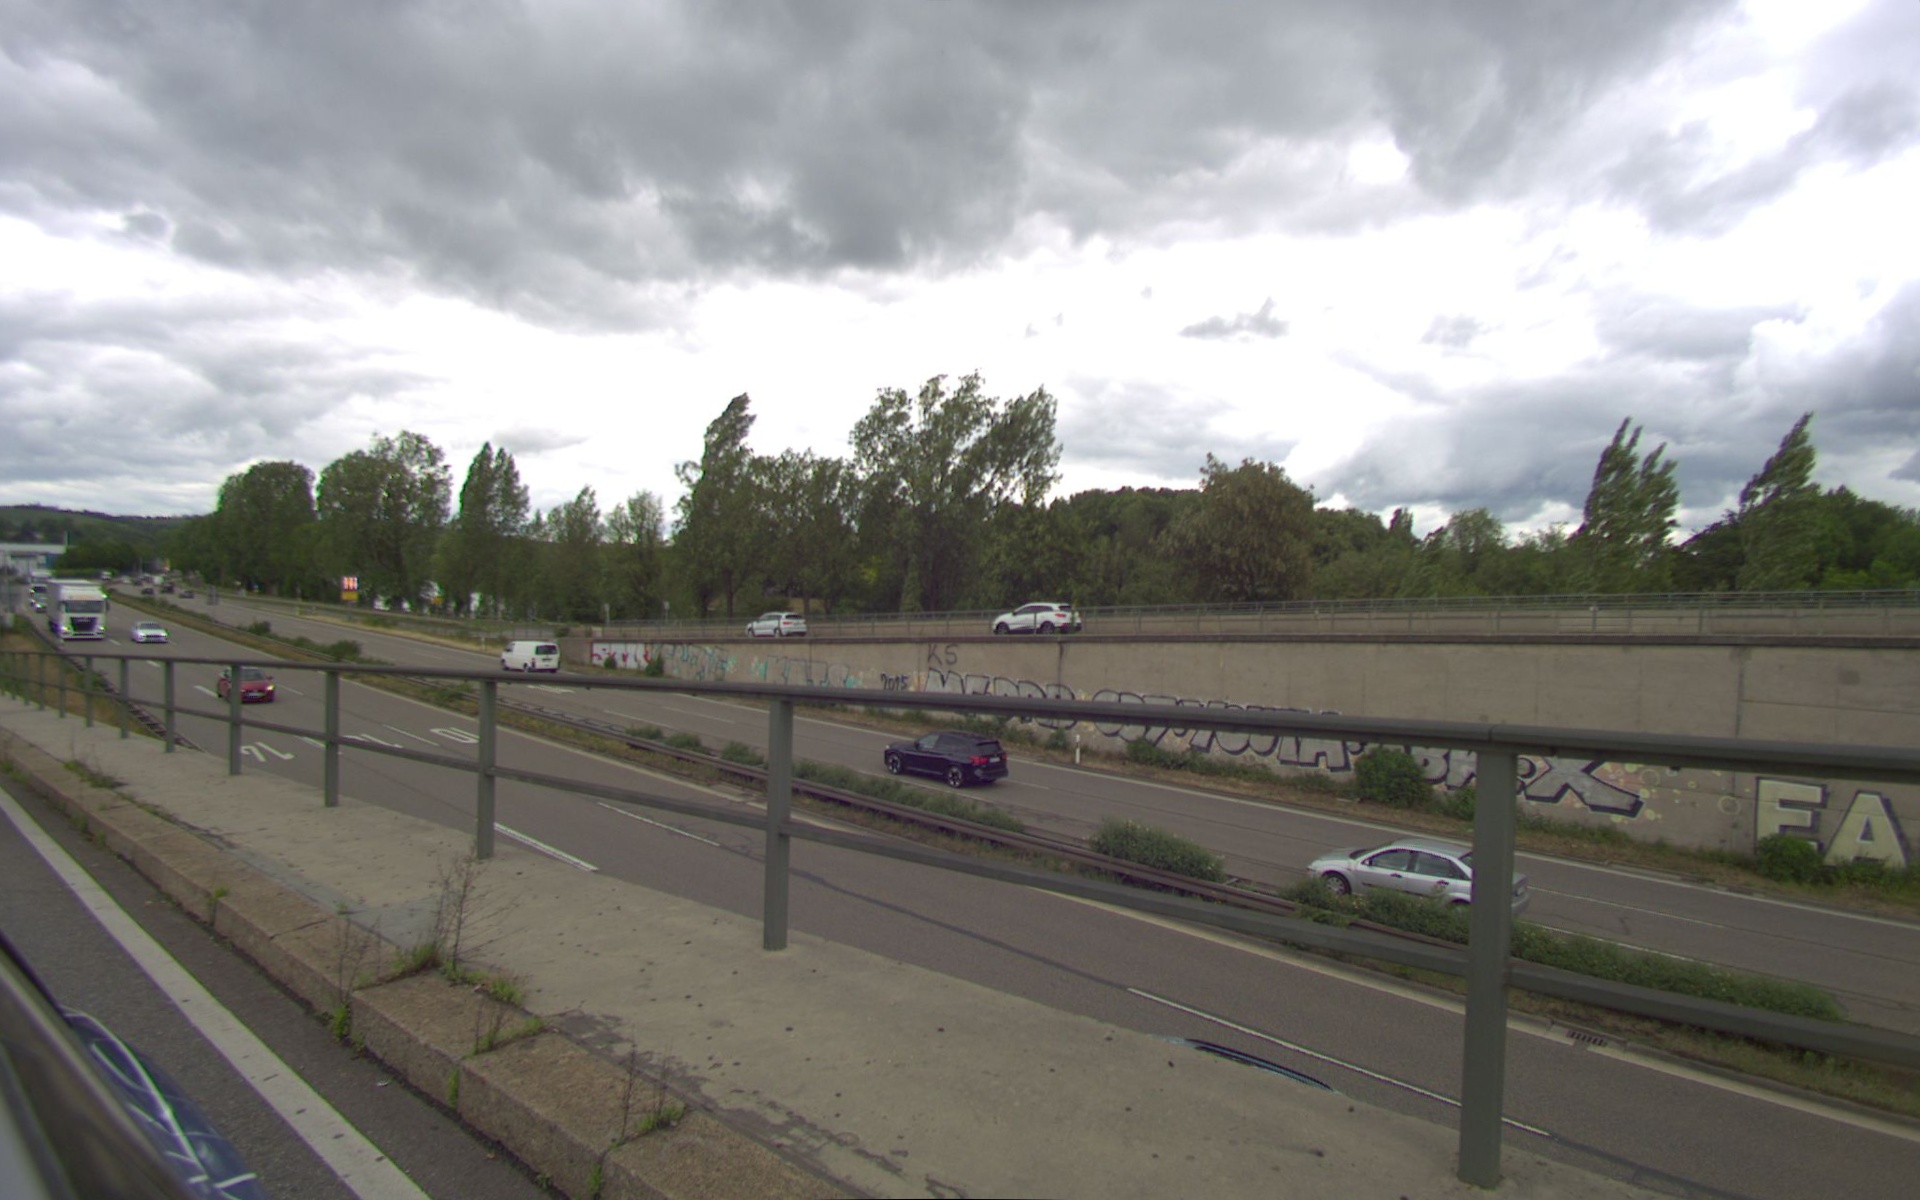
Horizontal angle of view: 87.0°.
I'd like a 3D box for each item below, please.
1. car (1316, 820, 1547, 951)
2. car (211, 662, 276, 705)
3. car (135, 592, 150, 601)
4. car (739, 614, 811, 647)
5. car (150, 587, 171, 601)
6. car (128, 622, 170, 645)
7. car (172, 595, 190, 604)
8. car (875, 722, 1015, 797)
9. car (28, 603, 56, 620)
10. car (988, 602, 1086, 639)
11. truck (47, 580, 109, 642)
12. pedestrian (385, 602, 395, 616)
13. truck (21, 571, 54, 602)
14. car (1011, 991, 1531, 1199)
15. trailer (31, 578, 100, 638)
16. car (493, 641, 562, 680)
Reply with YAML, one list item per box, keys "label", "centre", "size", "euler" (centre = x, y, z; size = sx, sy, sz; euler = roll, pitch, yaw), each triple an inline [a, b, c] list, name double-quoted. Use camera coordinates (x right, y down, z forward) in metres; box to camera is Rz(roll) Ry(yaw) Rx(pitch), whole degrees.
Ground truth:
- label: "car"
  centre: [9.877, 5.898, 21.375]
  size: [4.085, 1.539, 1.710]
  euler: [2, 1, 41]
- label: "car"
  centre: [-32.905, 3.785, 46.437]
  size: [4.167, 1.451, 1.732]
  euler: [4, 3, 44]
- label: "car"
  centre: [-149.771, -0.628, 185.432]
  size: [3.859, 1.512, 1.645]
  euler: [3, 0, 43]
- label: "car"
  centre: [-10.867, 1.784, 59.392]
  size: [4.211, 1.884, 1.973]
  euler: [-2, -2, 41]
- label: "car"
  centre: [-156.413, -1.191, 197.883]
  size: [6.114, 2.566, 2.220]
  euler: [2, 1, 43]
- label: "car"
  centre: [-60.124, 2.446, 75.015]
  size: [4.279, 1.429, 1.894]
  euler: [3, 2, 44]
- label: "car"
  centre: [-132.148, -0.153, 171.728]
  size: [4.111, 1.386, 1.692]
  euler: [2, 0, 43]
- label: "car"
  centre: [-0.550, 5.289, 34.076]
  size: [4.550, 1.751, 1.896]
  euler: [2, 0, 40]
- label: "car"
  centre: [-96.704, 1.241, 106.589]
  size: [4.166, 1.619, 1.834]
  euler: [2, 1, 43]
- label: "car"
  centre: [3.488, 0.949, 46.385]
  size: [4.346, 1.588, 1.812]
  euler: [-2, -2, 43]
- label: "truck"
  centre: [-65.814, 0.767, 75.479]
  size: [6.699, 4.283, 2.721]
  euler: [2, 0, 43]
- label: "pedestrian"
  centre: [-73.244, 1.115, 130.003]
  size: [1.078, 1.718, 0.820]
  euler: [2, 2, 43]
- label: "truck"
  centre: [-141.758, -2.151, 155.465]
  size: [11.130, 4.559, 3.136]
  euler: [2, 1, 45]
- label: "car"
  centre: [2.703, 5.447, 9.477]
  size: [4.281, 1.813, 1.820]
  euler: [2, 1, 43]
- label: "trailer"
  centre: [-71.533, 0.510, 80.811]
  size: [13.152, 4.283, 2.721]
  euler: [2, 0, 43]
- label: "car"
  centre: [-27.280, 3.758, 63.754]
  size: [5.177, 2.082, 1.972]
  euler: [2, 1, 42]
